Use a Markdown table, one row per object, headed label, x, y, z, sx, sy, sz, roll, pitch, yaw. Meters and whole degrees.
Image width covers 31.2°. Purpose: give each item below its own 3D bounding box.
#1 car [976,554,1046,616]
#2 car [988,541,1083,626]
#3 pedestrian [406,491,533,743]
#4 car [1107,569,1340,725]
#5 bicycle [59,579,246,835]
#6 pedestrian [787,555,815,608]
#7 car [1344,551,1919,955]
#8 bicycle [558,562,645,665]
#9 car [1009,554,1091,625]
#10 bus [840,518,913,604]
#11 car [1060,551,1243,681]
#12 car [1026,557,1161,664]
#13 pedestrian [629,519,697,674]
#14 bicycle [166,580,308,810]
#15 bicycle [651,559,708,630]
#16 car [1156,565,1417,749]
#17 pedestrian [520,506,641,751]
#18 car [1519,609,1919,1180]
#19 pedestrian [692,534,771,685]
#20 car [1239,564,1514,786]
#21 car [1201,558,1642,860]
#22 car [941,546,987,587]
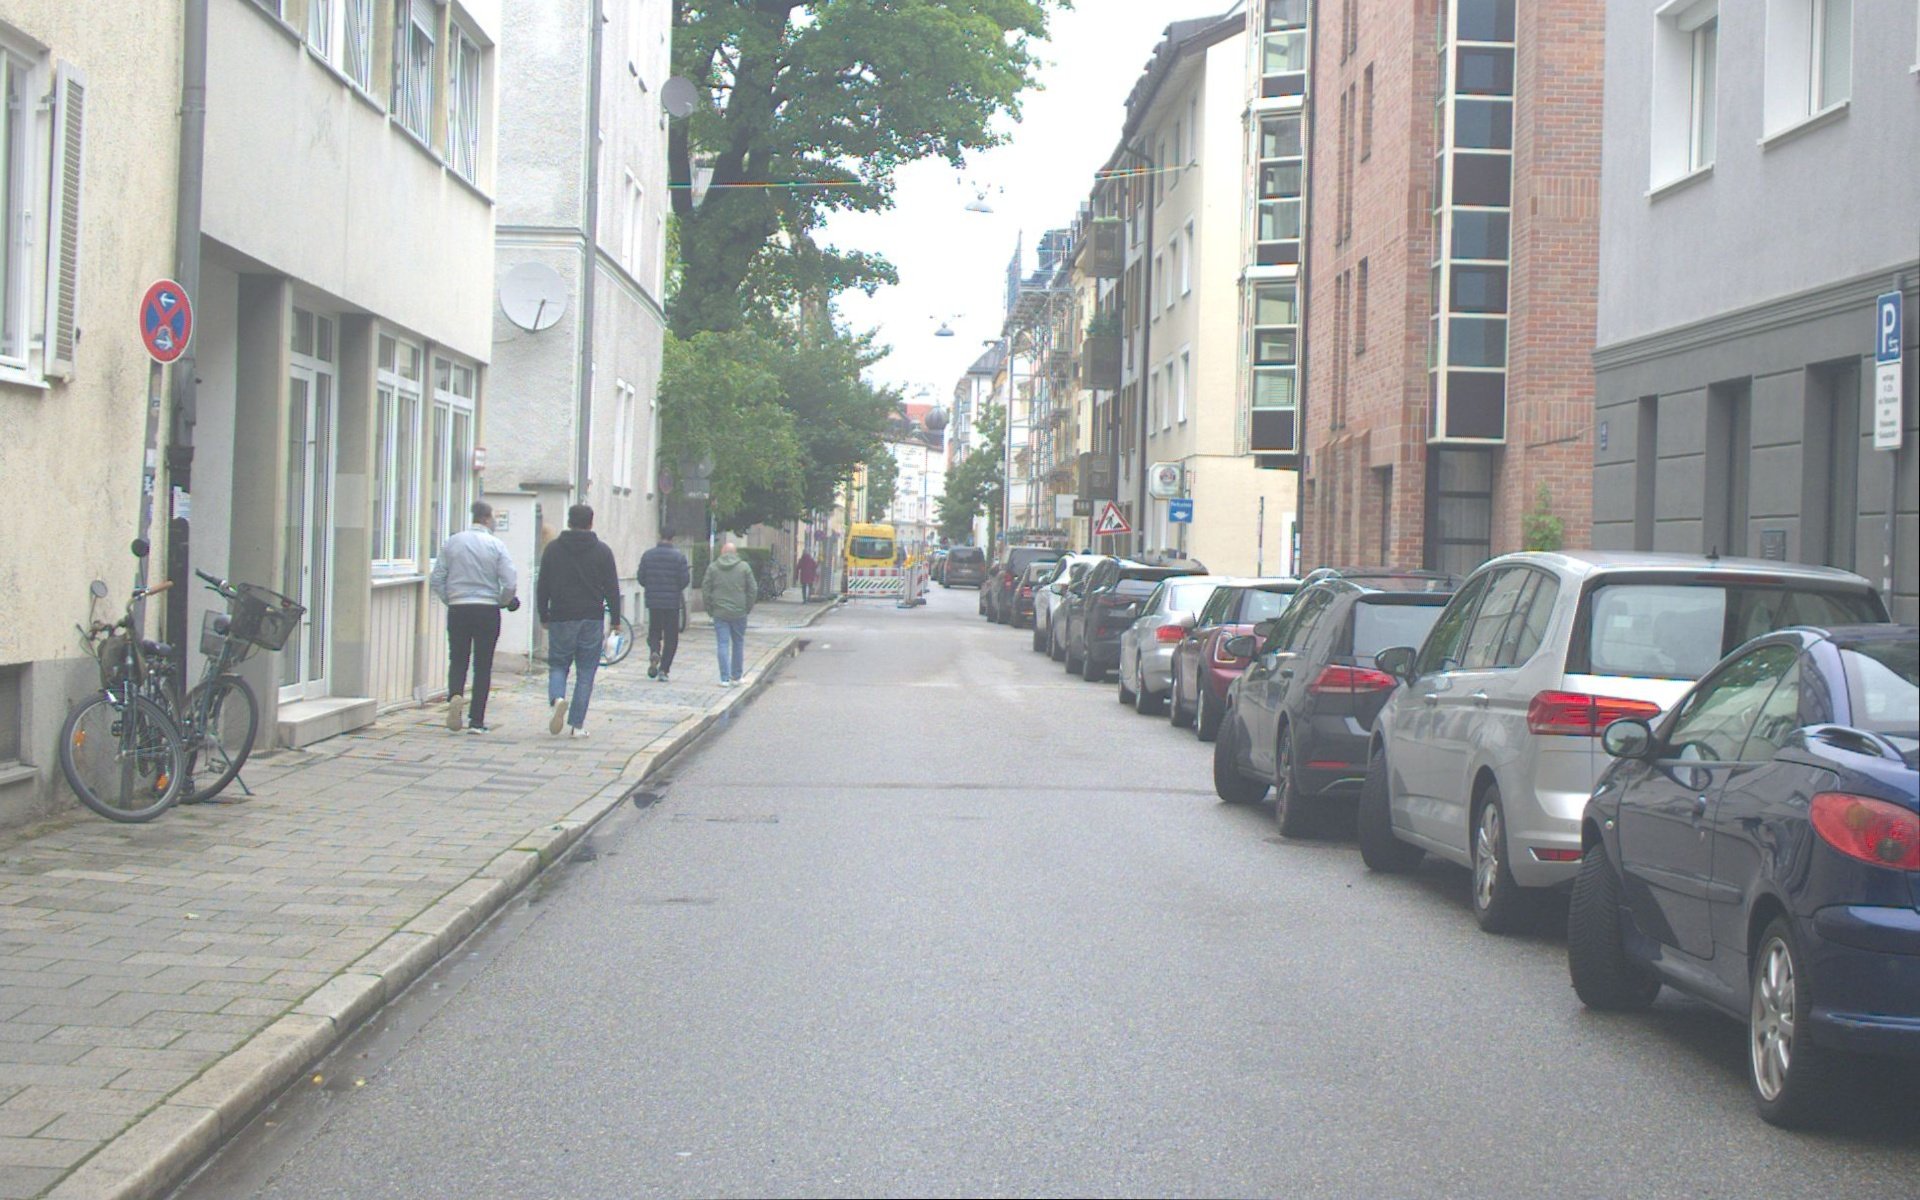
| label | x | y | z | sx | sy | sz | roll | pitch | yaw |
| --- | --- | --- | --- | --- | --- | --- | --- | --- | --- |
| car | 1.378 | -0.430 | 93.611 | 1.635 | 1.509 | 3.829 | 5 | 1 | -1 |
| car | 1.758 | -0.414 | 81.730 | 1.801 | 1.814 | 4.001 | 5 | 1 | -3 |
| pedestrian | -3.617 | 0.119 | 25.424 | 0.718 | 1.790 | 0.917 | 3 | 0 | -1 |
| car | 2.639 | 0.431 | 35.405 | 1.836 | 1.412 | 4.601 | 2 | 1 | -2 |
| bicycle | -3.910 | 0.491 | 16.738 | 0.458 | 1.155 | 1.605 | 4 | 0 | 0 |
| pedestrian | -4.506 | -0.530 | 97.543 | 0.756 | 1.486 | 0.831 | 1 | 0 | -1 |
| car | 3.012 | 0.569 | 15.504 | 1.875 | 1.565 | 4.317 | 0 | 1 | -3 |
| bicycle | -4.323 | 0.150 | 41.415 | 0.641 | 1.213 | 1.665 | 1 | 0 | -20 |
| car | 2.000 | -0.254 | 77.372 | 1.624 | 1.482 | 3.808 | 2 | 1 | -1 |
| bus | -3.068 | -1.429 | 127.358 | 2.592 | 3.091 | 6.306 | 1 | 0 | -1 |
| car | 2.466 | 0.171 | 45.251 | 1.885 | 1.550 | 4.392 | 2 | 1 | -3 |
| car | 2.125 | 0.134 | 55.748 | 1.748 | 1.624 | 4.197 | 1 | 1 | -3 |
| pedestrian | -3.363 | -0.041 | 39.007 | 0.612 | 1.707 | 0.823 | 4 | 0 | -1 |
| bicycle | -3.863 | 0.481 | 18.454 | 0.561 | 1.155 | 1.721 | 2 | 0 | -7 |
| bicycle | -4.578 | -0.101 | 56.024 | 0.473 | 1.107 | 1.761 | 2 | 1 | -18 |
| car | 2.849 | 0.455 | 30.807 | 1.745 | 1.457 | 4.150 | 2 | 1 | -2 |
| pedestrian | -2.829 | 0.206 | 25.682 | 0.718 | 1.759 | 0.838 | 3 | 0 | -1 |
| car | 2.972 | 0.757 | 10.585 | 1.808 | 1.358 | 3.945 | 1 | 1 | 0 |
| pedestrian | -2.593 | 0.102 | 39.112 | 0.753 | 1.653 | 0.906 | 4 | 0 | -1 |
| car | 3.079 | 0.515 | 25.942 | 1.521 | 1.506 | 3.202 | 2 | 1 | -2 |
| car | 2.602 | 0.556 | 20.386 | 1.839 | 1.523 | 4.293 | 2 | 1 | -2 |
| car | 0.154 | -1.577 | 159.508 | 1.801 | 1.706 | 3.827 | 5 | 1 | -3 |
